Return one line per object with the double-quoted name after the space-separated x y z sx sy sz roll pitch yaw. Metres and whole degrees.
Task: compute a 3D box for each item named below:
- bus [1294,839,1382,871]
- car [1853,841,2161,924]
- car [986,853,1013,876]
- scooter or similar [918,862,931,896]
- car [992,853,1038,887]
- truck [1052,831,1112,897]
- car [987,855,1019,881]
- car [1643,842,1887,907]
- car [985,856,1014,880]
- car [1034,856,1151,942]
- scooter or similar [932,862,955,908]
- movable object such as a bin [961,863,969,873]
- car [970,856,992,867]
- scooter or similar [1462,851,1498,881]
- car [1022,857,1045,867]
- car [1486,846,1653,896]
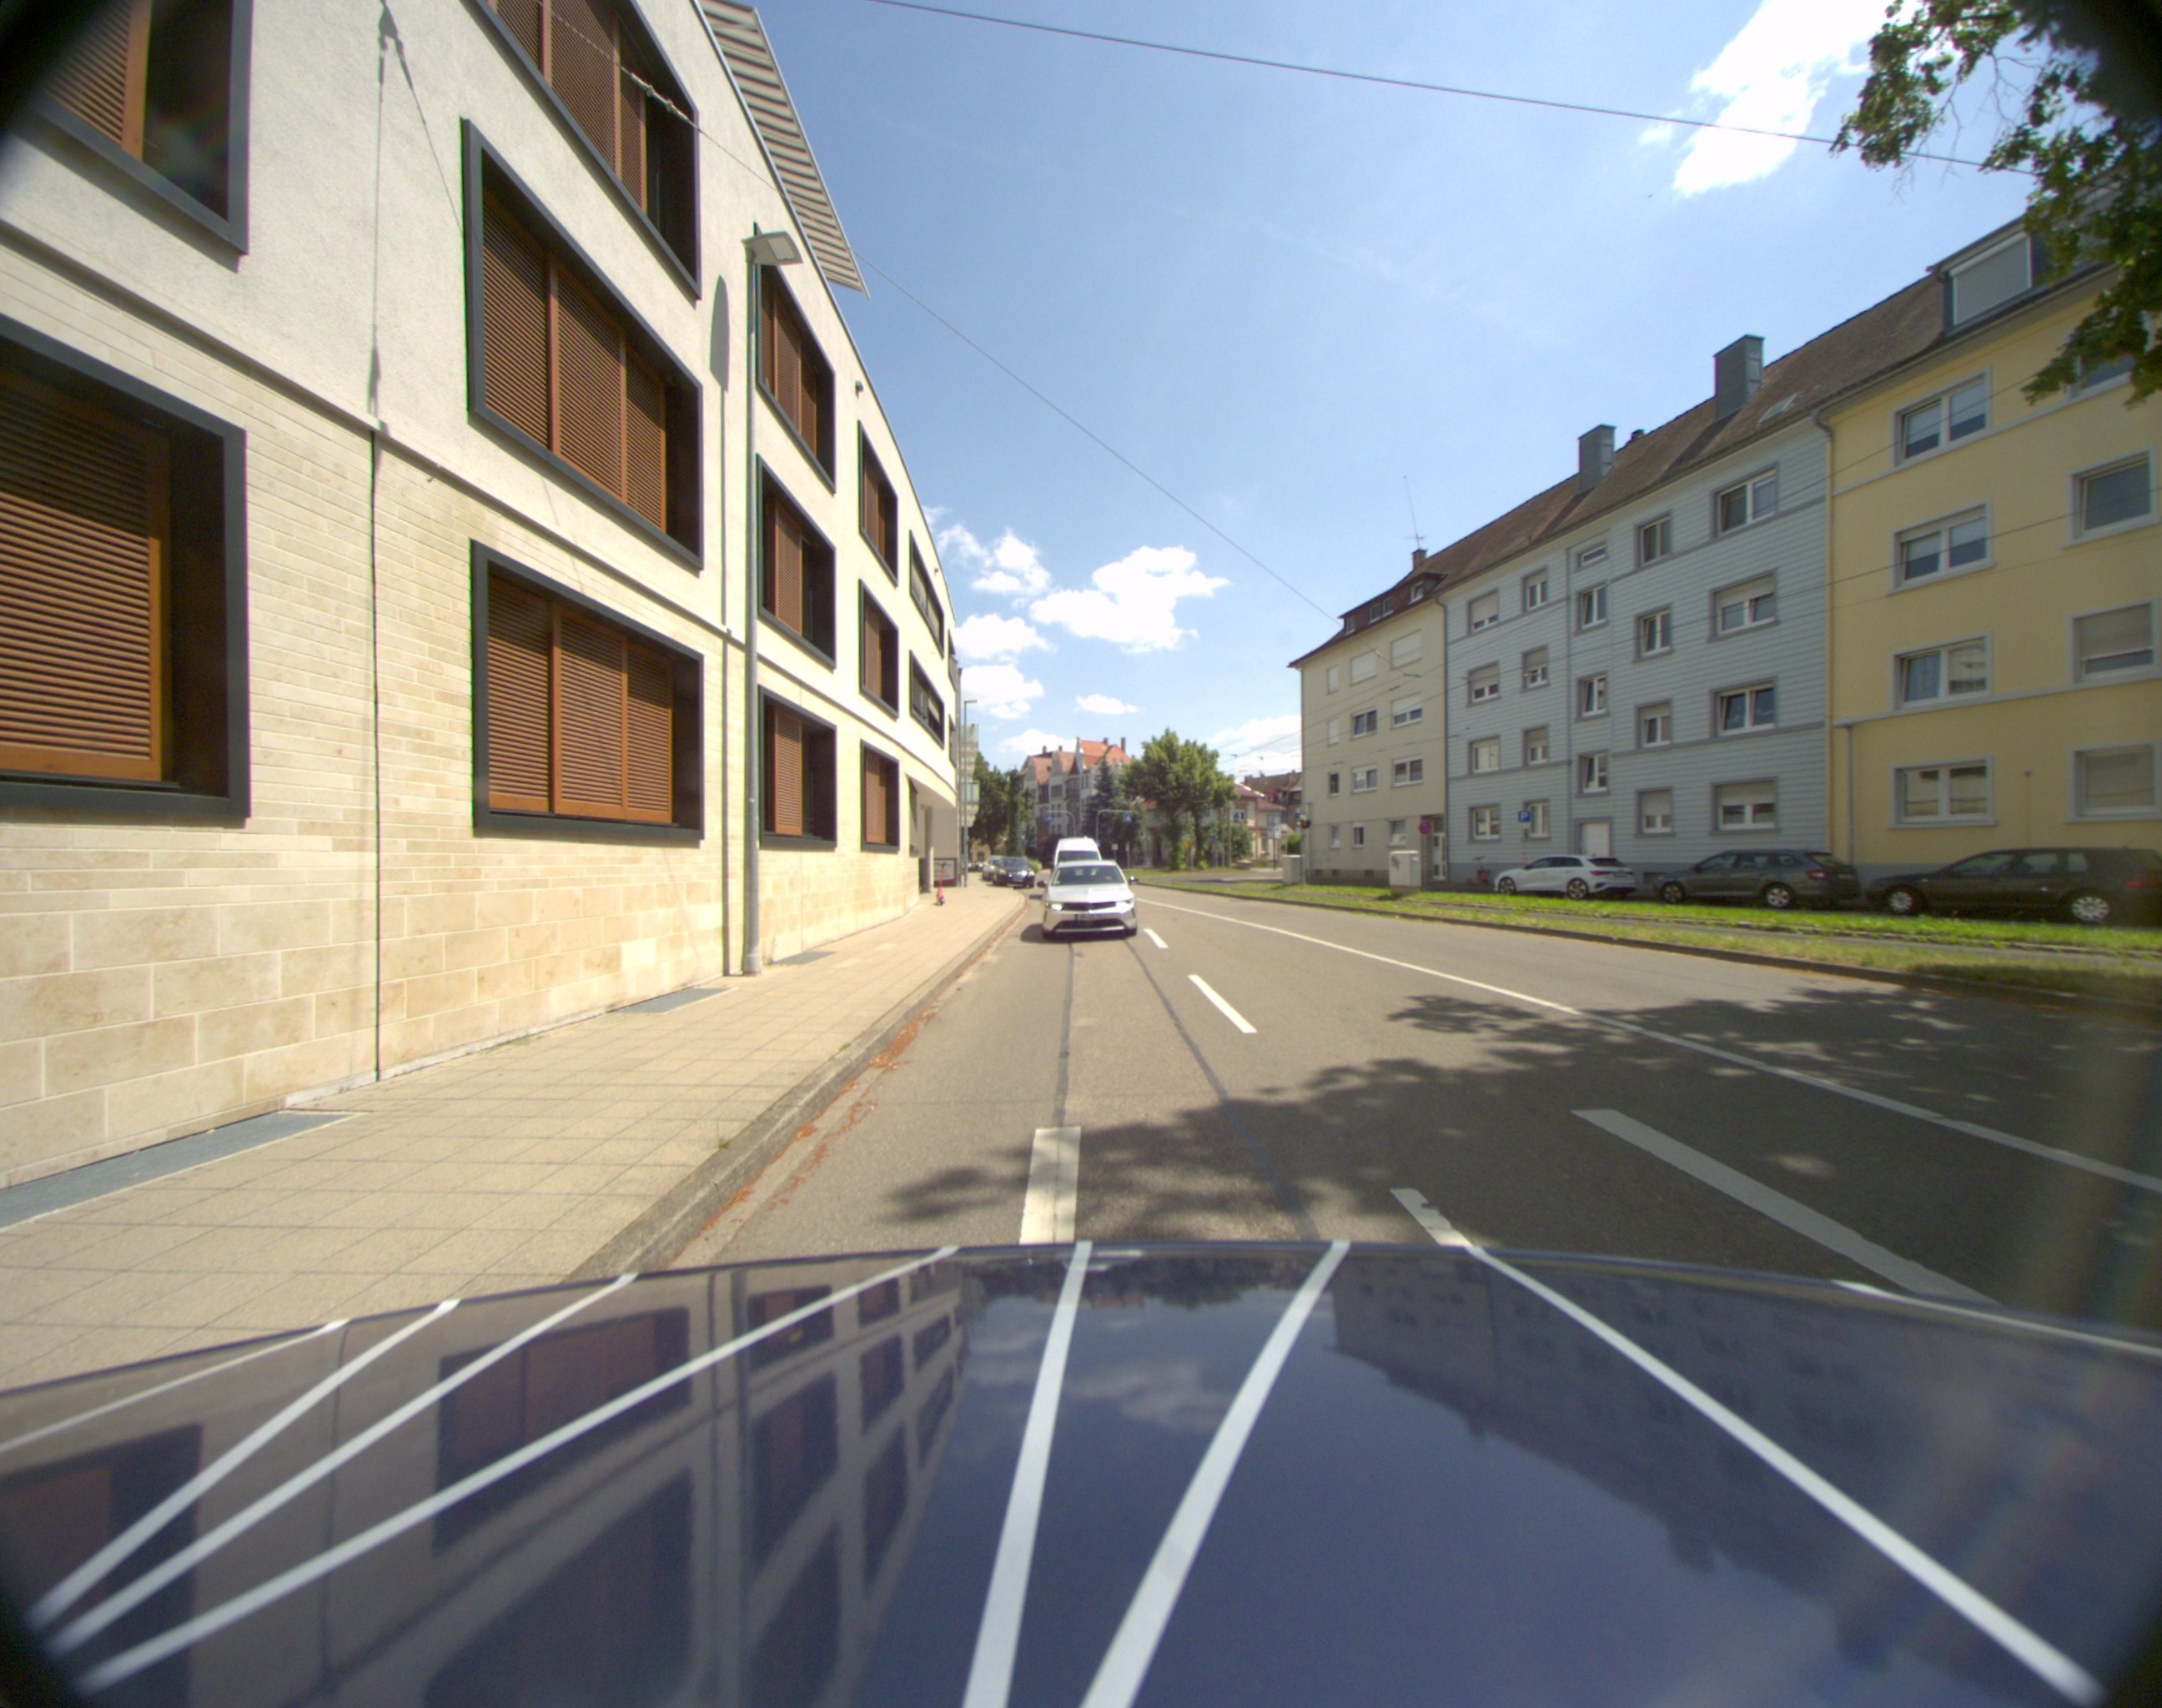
28.053 0.111 82.565 10.877 3.277 2.702 0 -1 -32 "bus"
18.453 0.502 15.008 1.838 1.391 4.137 0 0 -14 "car"
-6.175 0.735 57.738 1.731 1.601 3.799 1 1 -2 "car"
-5.871 0.921 28.540 0.423 1.204 1.313 -1 0 -11 "scooter or similar"
-3.397 0.758 38.351 1.806 1.500 4.542 3 0 -11 "car"
-0.049 0.364 29.495 2.020 2.236 5.406 -2 0 -2 "truck"
-4.676 0.799 45.109 1.598 1.424 3.703 3 0 -9 "car"
17.454 0.496 19.709 1.935 1.496 4.320 0 0 -16 "car"
-5.324 0.880 50.005 1.732 1.424 4.040 3 0 -5 "car"
0.385 0.794 15.447 1.800 1.458 4.174 0 1 9 "car"
-3.907 0.863 21.709 0.583 1.253 1.366 1 0 -9 "scooter or similar"
-11.282 1.349 74.159 0.617 0.955 0.634 -1 1 7 "movable object such as a bin"
-16.124 1.143 122.673 1.779 1.604 3.864 6 -3 -36 "car"
17.138 0.514 32.658 0.640 1.216 1.319 -2 1 -15 "scooter or similar"
-6.467 1.053 103.630 1.821 1.319 3.992 0 0 -25 "car"
15.801 0.533 24.866 1.935 1.443 4.370 2 -1 -16 "car"
